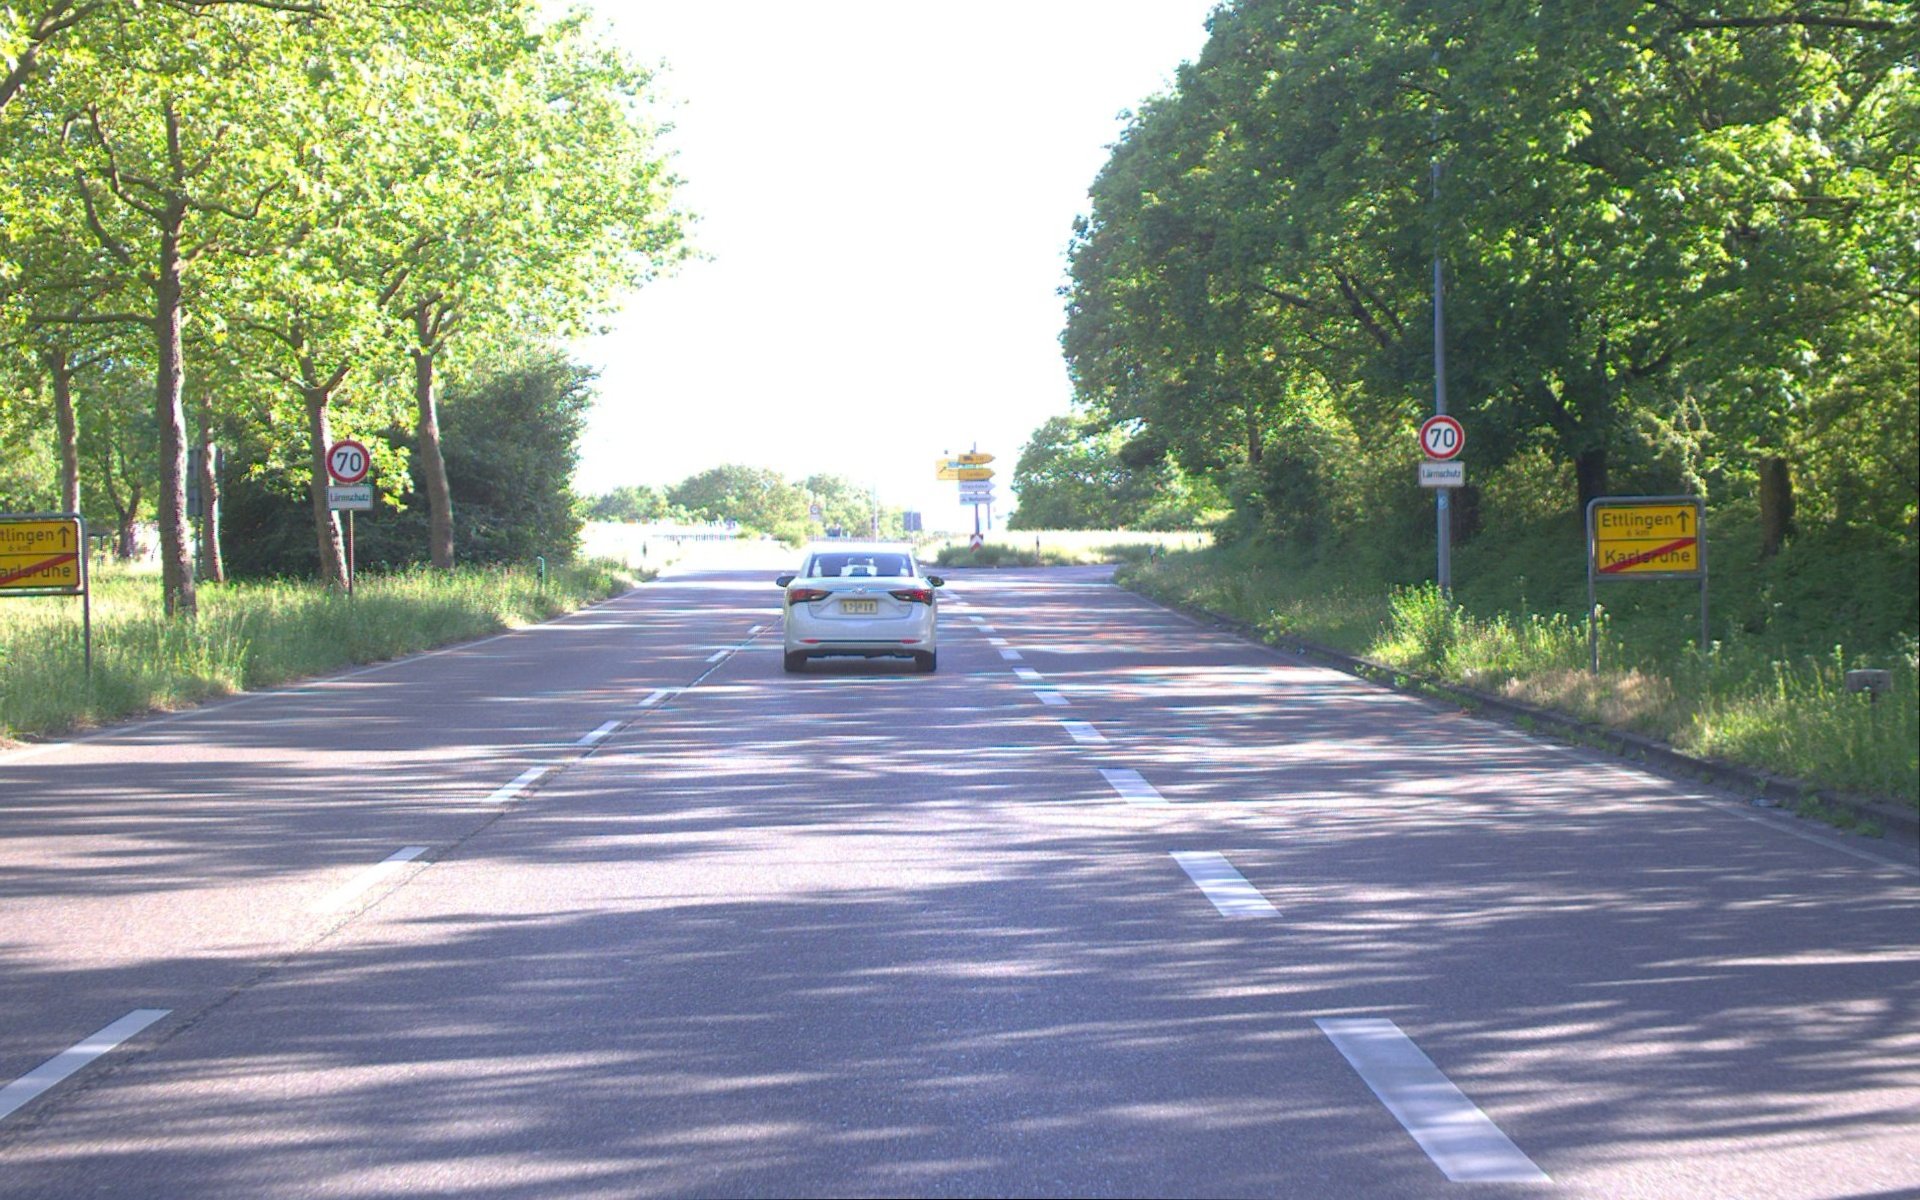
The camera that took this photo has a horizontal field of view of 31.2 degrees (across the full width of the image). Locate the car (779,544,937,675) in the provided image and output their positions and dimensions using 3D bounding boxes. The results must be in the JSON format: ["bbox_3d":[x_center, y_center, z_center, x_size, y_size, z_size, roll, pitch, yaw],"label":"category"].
[{"bbox_3d":[-1.179,0.072,41.053,1.767,1.459,4.366,-1,1,-1],"label":"car"}]
